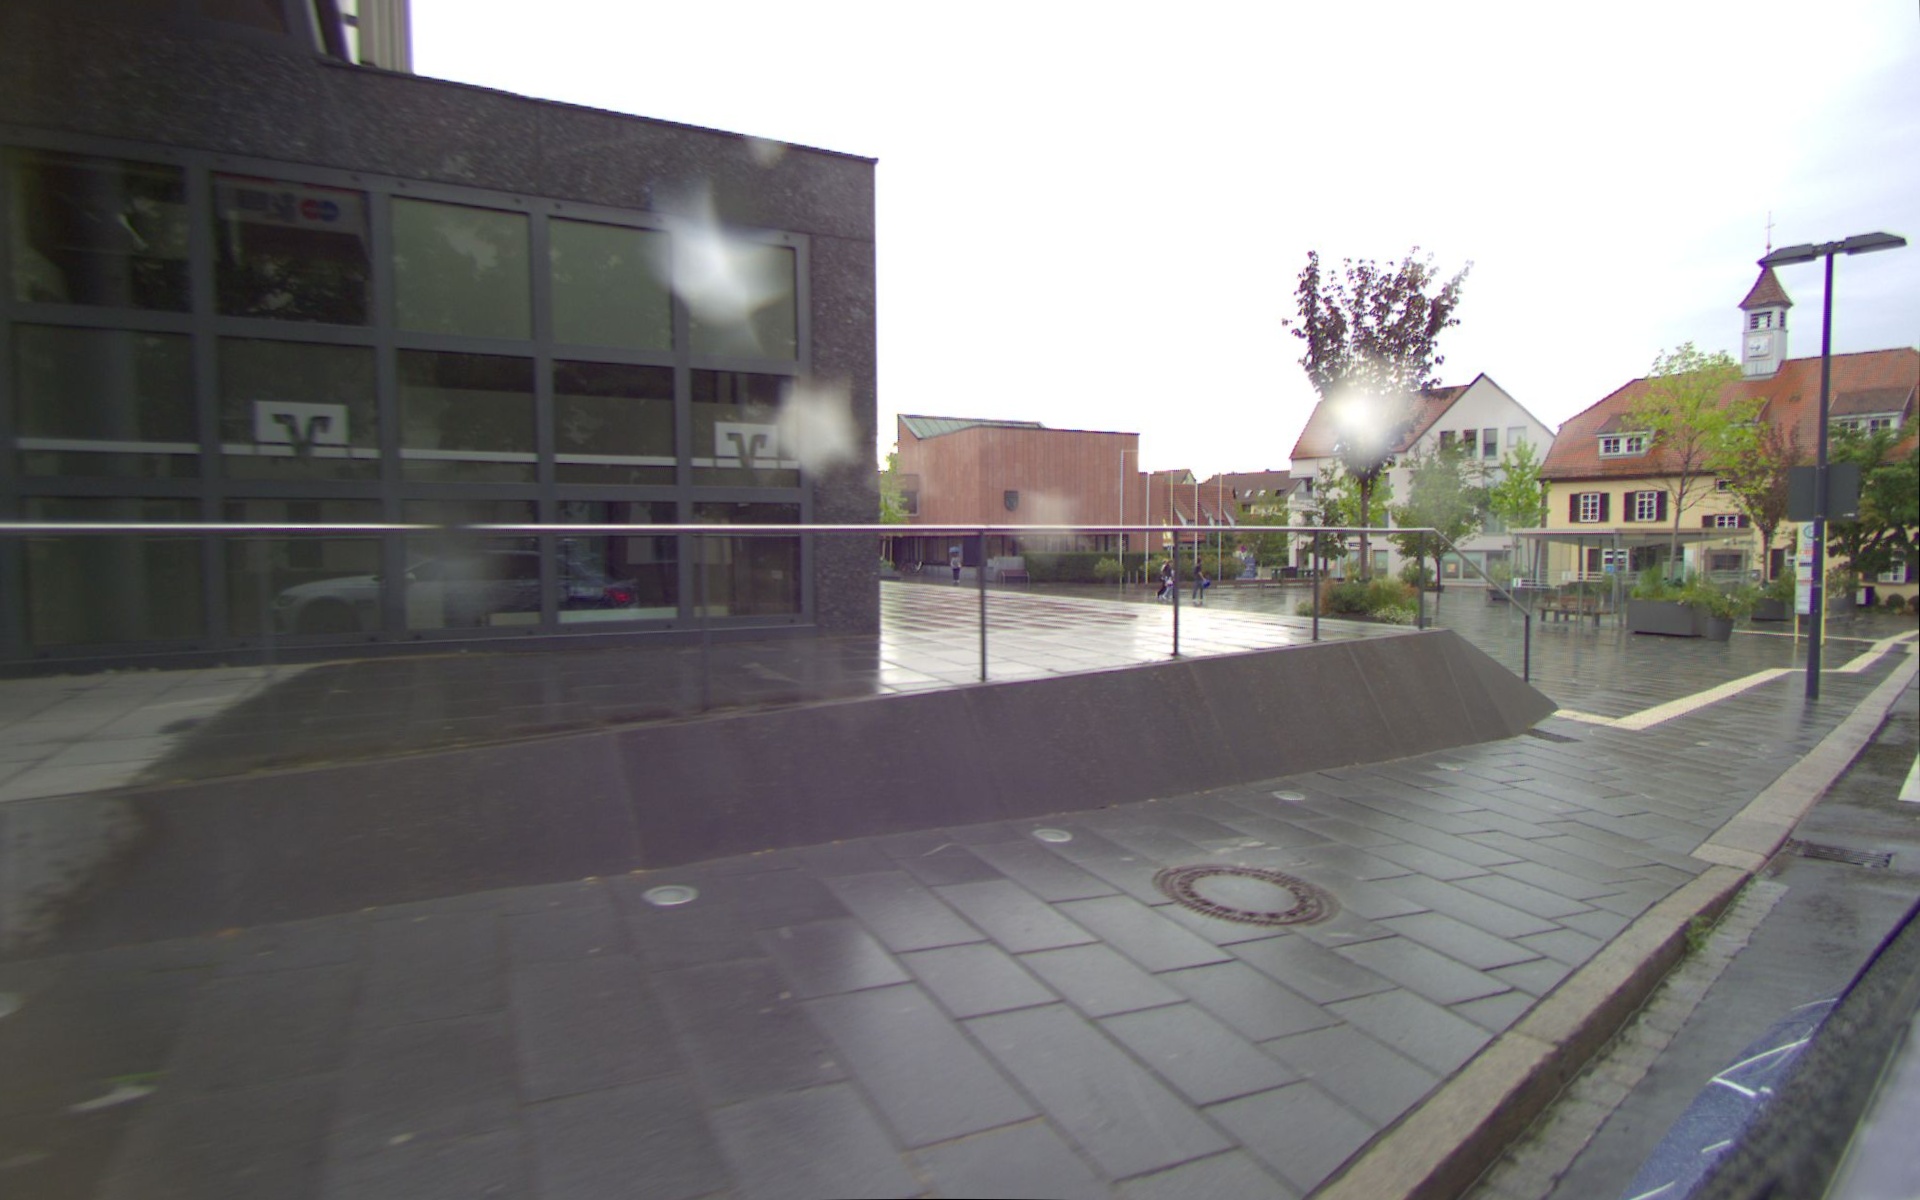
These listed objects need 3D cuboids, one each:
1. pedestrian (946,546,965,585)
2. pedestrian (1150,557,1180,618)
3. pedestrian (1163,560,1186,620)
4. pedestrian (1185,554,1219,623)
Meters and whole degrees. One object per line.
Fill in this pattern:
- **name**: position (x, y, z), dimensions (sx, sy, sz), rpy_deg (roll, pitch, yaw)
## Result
- **pedestrian**: position (-0.270, -2.093, 60.810), dimensions (0.784, 2.335, 0.905), rpy_deg (-1, 4, -30)
- **pedestrian**: position (8.441, -0.531, 41.671), dimensions (0.760, 2.468, 0.946), rpy_deg (-1, 3, -24)
- **pedestrian**: position (8.984, -0.416, 42.341), dimensions (0.558, 2.468, 0.738), rpy_deg (-1, 3, -26)
- **pedestrian**: position (9.844, -0.490, 41.251), dimensions (0.814, 2.716, 1.060), rpy_deg (0, 3, -22)
